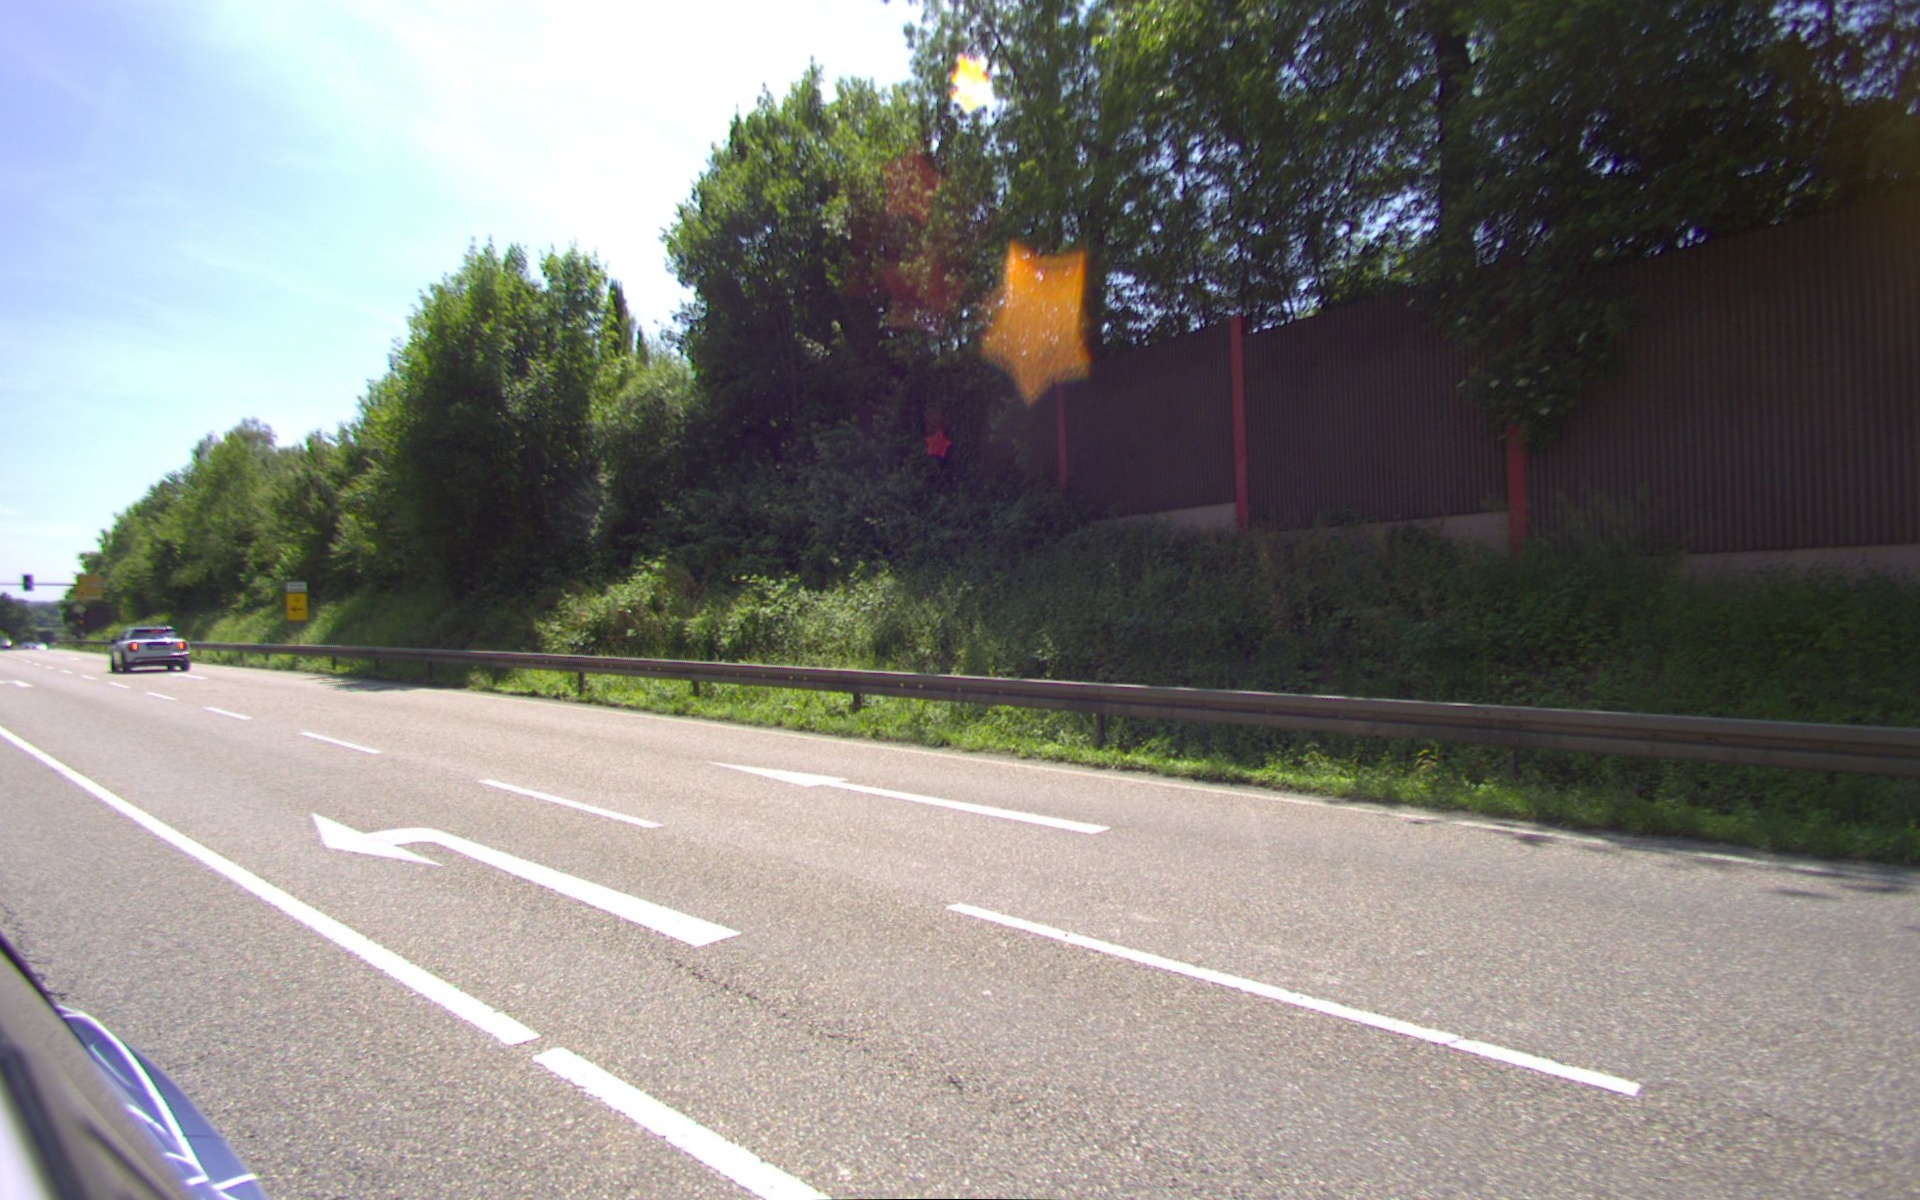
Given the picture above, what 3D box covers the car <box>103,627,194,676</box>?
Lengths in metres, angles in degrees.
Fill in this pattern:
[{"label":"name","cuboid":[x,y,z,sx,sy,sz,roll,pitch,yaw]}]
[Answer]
[{"label":"car","cuboid":[-26.221,1.615,32.667,3.872,1.446,1.786,-2,-2,43]}]
